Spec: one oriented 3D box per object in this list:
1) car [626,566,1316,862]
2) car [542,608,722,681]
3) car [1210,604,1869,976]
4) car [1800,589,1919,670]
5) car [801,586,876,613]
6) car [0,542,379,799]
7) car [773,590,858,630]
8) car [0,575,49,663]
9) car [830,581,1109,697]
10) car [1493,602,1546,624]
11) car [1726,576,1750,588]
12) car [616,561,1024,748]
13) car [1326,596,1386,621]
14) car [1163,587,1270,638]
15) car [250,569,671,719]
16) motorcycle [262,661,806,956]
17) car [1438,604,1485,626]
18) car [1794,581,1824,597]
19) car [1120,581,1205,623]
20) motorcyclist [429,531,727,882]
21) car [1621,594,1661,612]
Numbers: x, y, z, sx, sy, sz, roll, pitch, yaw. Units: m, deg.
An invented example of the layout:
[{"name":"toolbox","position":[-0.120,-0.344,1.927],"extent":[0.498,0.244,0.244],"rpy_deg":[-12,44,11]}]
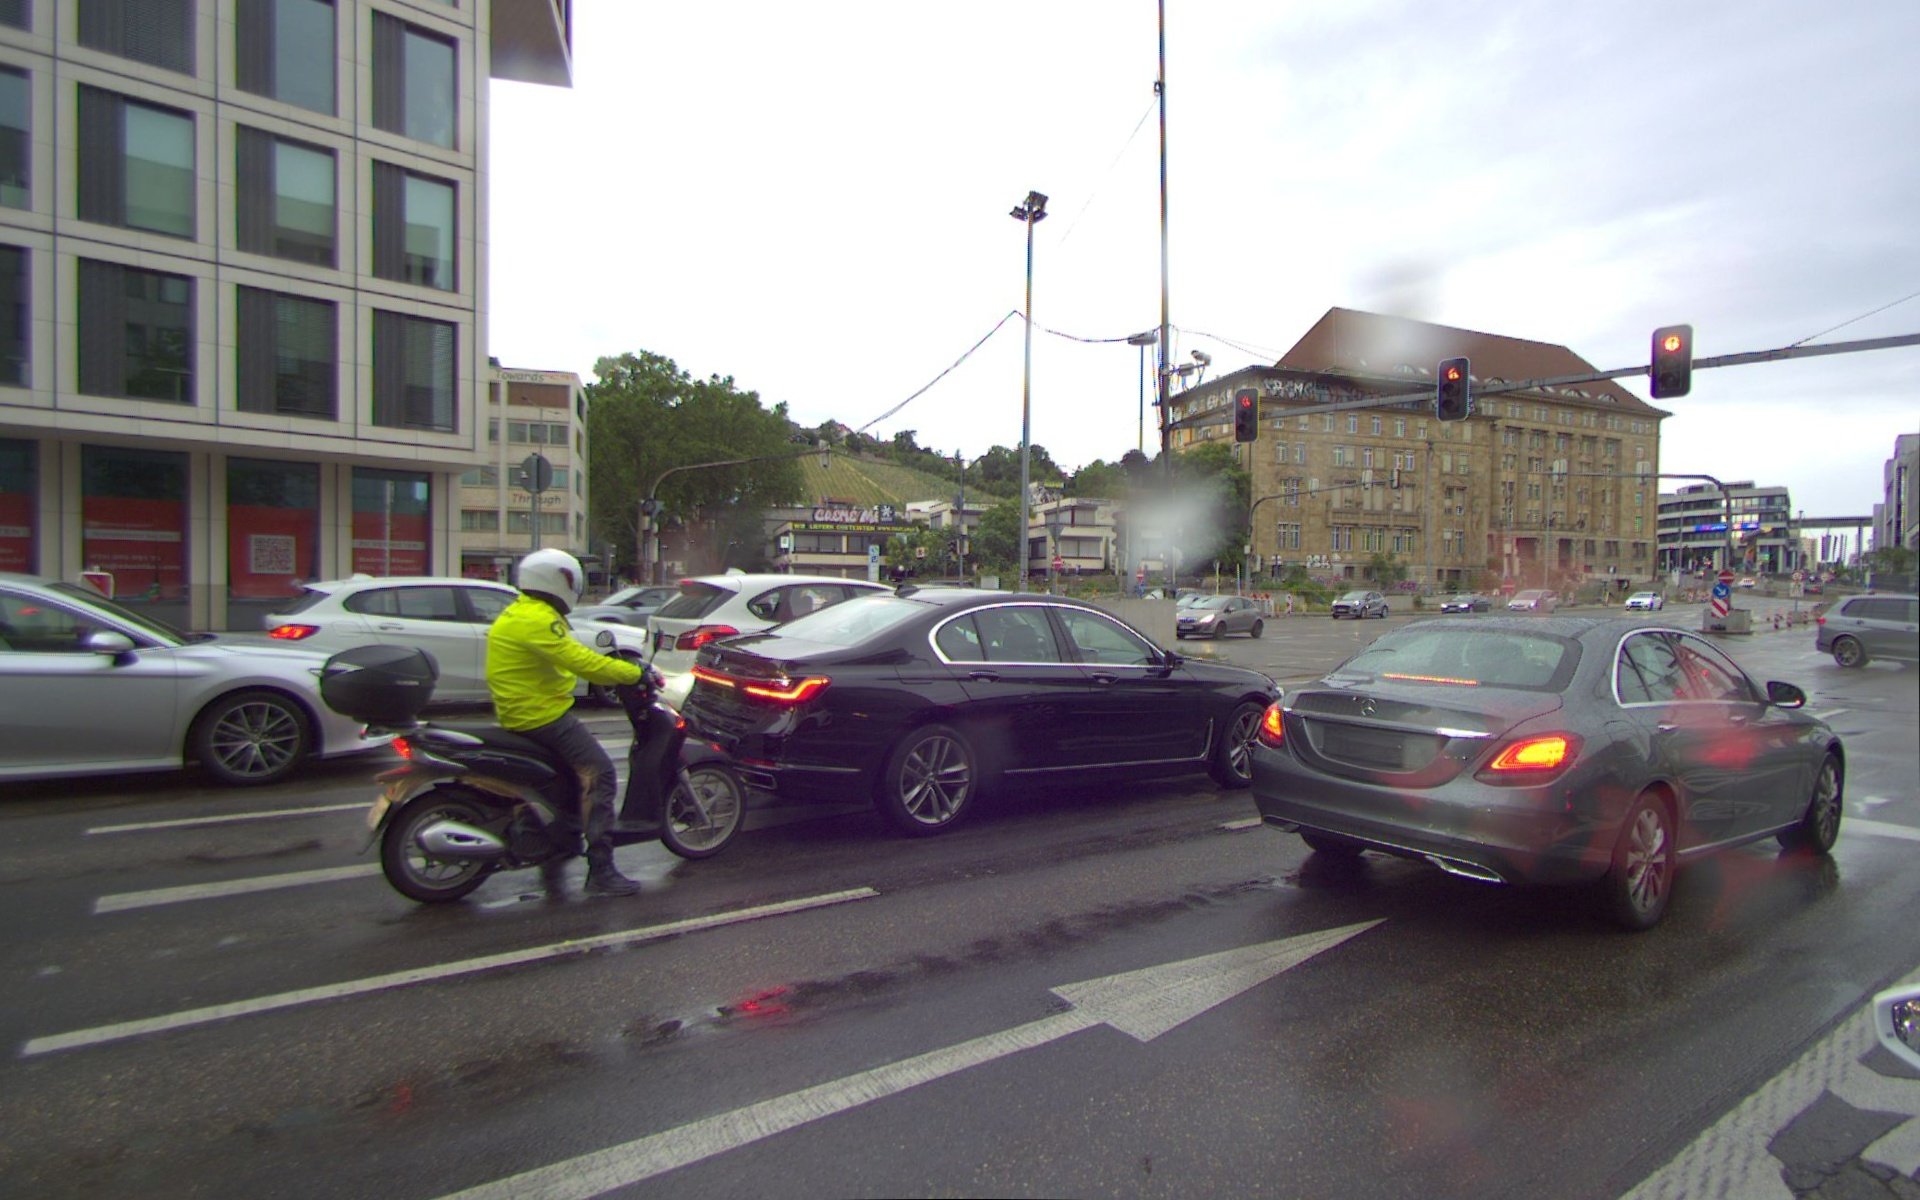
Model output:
[{"name":"car","position":[0.317,0.647,7.457],"extent":[4.954,1.535,1.874],"rpy_deg":[2,1,-36]},{"name":"car","position":[-7.440,0.981,22.932],"extent":[3.529,1.539,1.682],"rpy_deg":[2,-1,-43]},{"name":"car","position":[3.685,0.777,6.069],"extent":[4.442,1.421,1.771],"rpy_deg":[0,2,-36]},{"name":"car","position":[22.689,0.703,23.235],"extent":[1.962,1.821,5.100],"rpy_deg":[2,0,-4]},{"name":"car","position":[-6.977,-0.037,57.545],"extent":[3.923,1.339,1.653],"rpy_deg":[3,1,23]},{"name":"car","position":[-6.607,0.381,6.502],"extent":[4.755,1.541,1.818],"rpy_deg":[2,1,-36]},{"name":"car","position":[-6.688,0.455,46.291],"extent":[3.940,1.617,1.667],"rpy_deg":[3,1,40]},{"name":"car","position":[-18.140,0.306,17.210],"extent":[1.680,1.539,3.665],"rpy_deg":[0,-1,44]},{"name":"car","position":[0.168,0.610,15.873],"extent":[4.020,1.621,1.777],"rpy_deg":[2,1,-27]},{"name":"car","position":[36.097,0.848,64.765],"extent":[4.164,1.277,1.751],"rpy_deg":[2,1,-42]},{"name":"car","position":[137.221,-3.161,177.242],"extent":[1.960,1.840,4.001],"rpy_deg":[3,0,17]},{"name":"car","position":[-1.382,0.508,10.724],"extent":[3.965,1.637,1.719],"rpy_deg":[2,1,-39]},{"name":"car","position":[22.363,0.500,56.652],"extent":[3.974,1.277,1.607],"rpy_deg":[2,1,-44]},{"name":"car","position":[8.811,0.459,34.357],"extent":[3.974,1.595,1.680],"rpy_deg":[2,1,-45]},{"name":"car","position":[-5.517,0.447,11.314],"extent":[3.958,1.391,1.769],"rpy_deg":[2,1,-38]},{"name":"motorcycle","position":[-1.988,0.864,4.935],"extent":[2.276,1.002,0.933],"rpy_deg":[1,1,-41]},{"name":"car","position":[32.774,0.979,65.662],"extent":[3.308,1.277,1.720],"rpy_deg":[2,1,-44]},{"name":"car","position":[122.079,-1.561,144.434],"extent":[1.961,2.040,4.000],"rpy_deg":[3,0,20]},{"name":"car","position":[8.753,0.097,43.290],"extent":[3.974,1.668,1.607],"rpy_deg":[2,1,-44]},{"name":"motorcyclist","position":[-1.897,0.453,4.989],"extent":[1.092,1.495,0.933],"rpy_deg":[2,1,-41]},{"name":"car","position":[54.629,0.272,80.565],"extent":[3.971,1.277,1.751],"rpy_deg":[2,1,-42]}]
